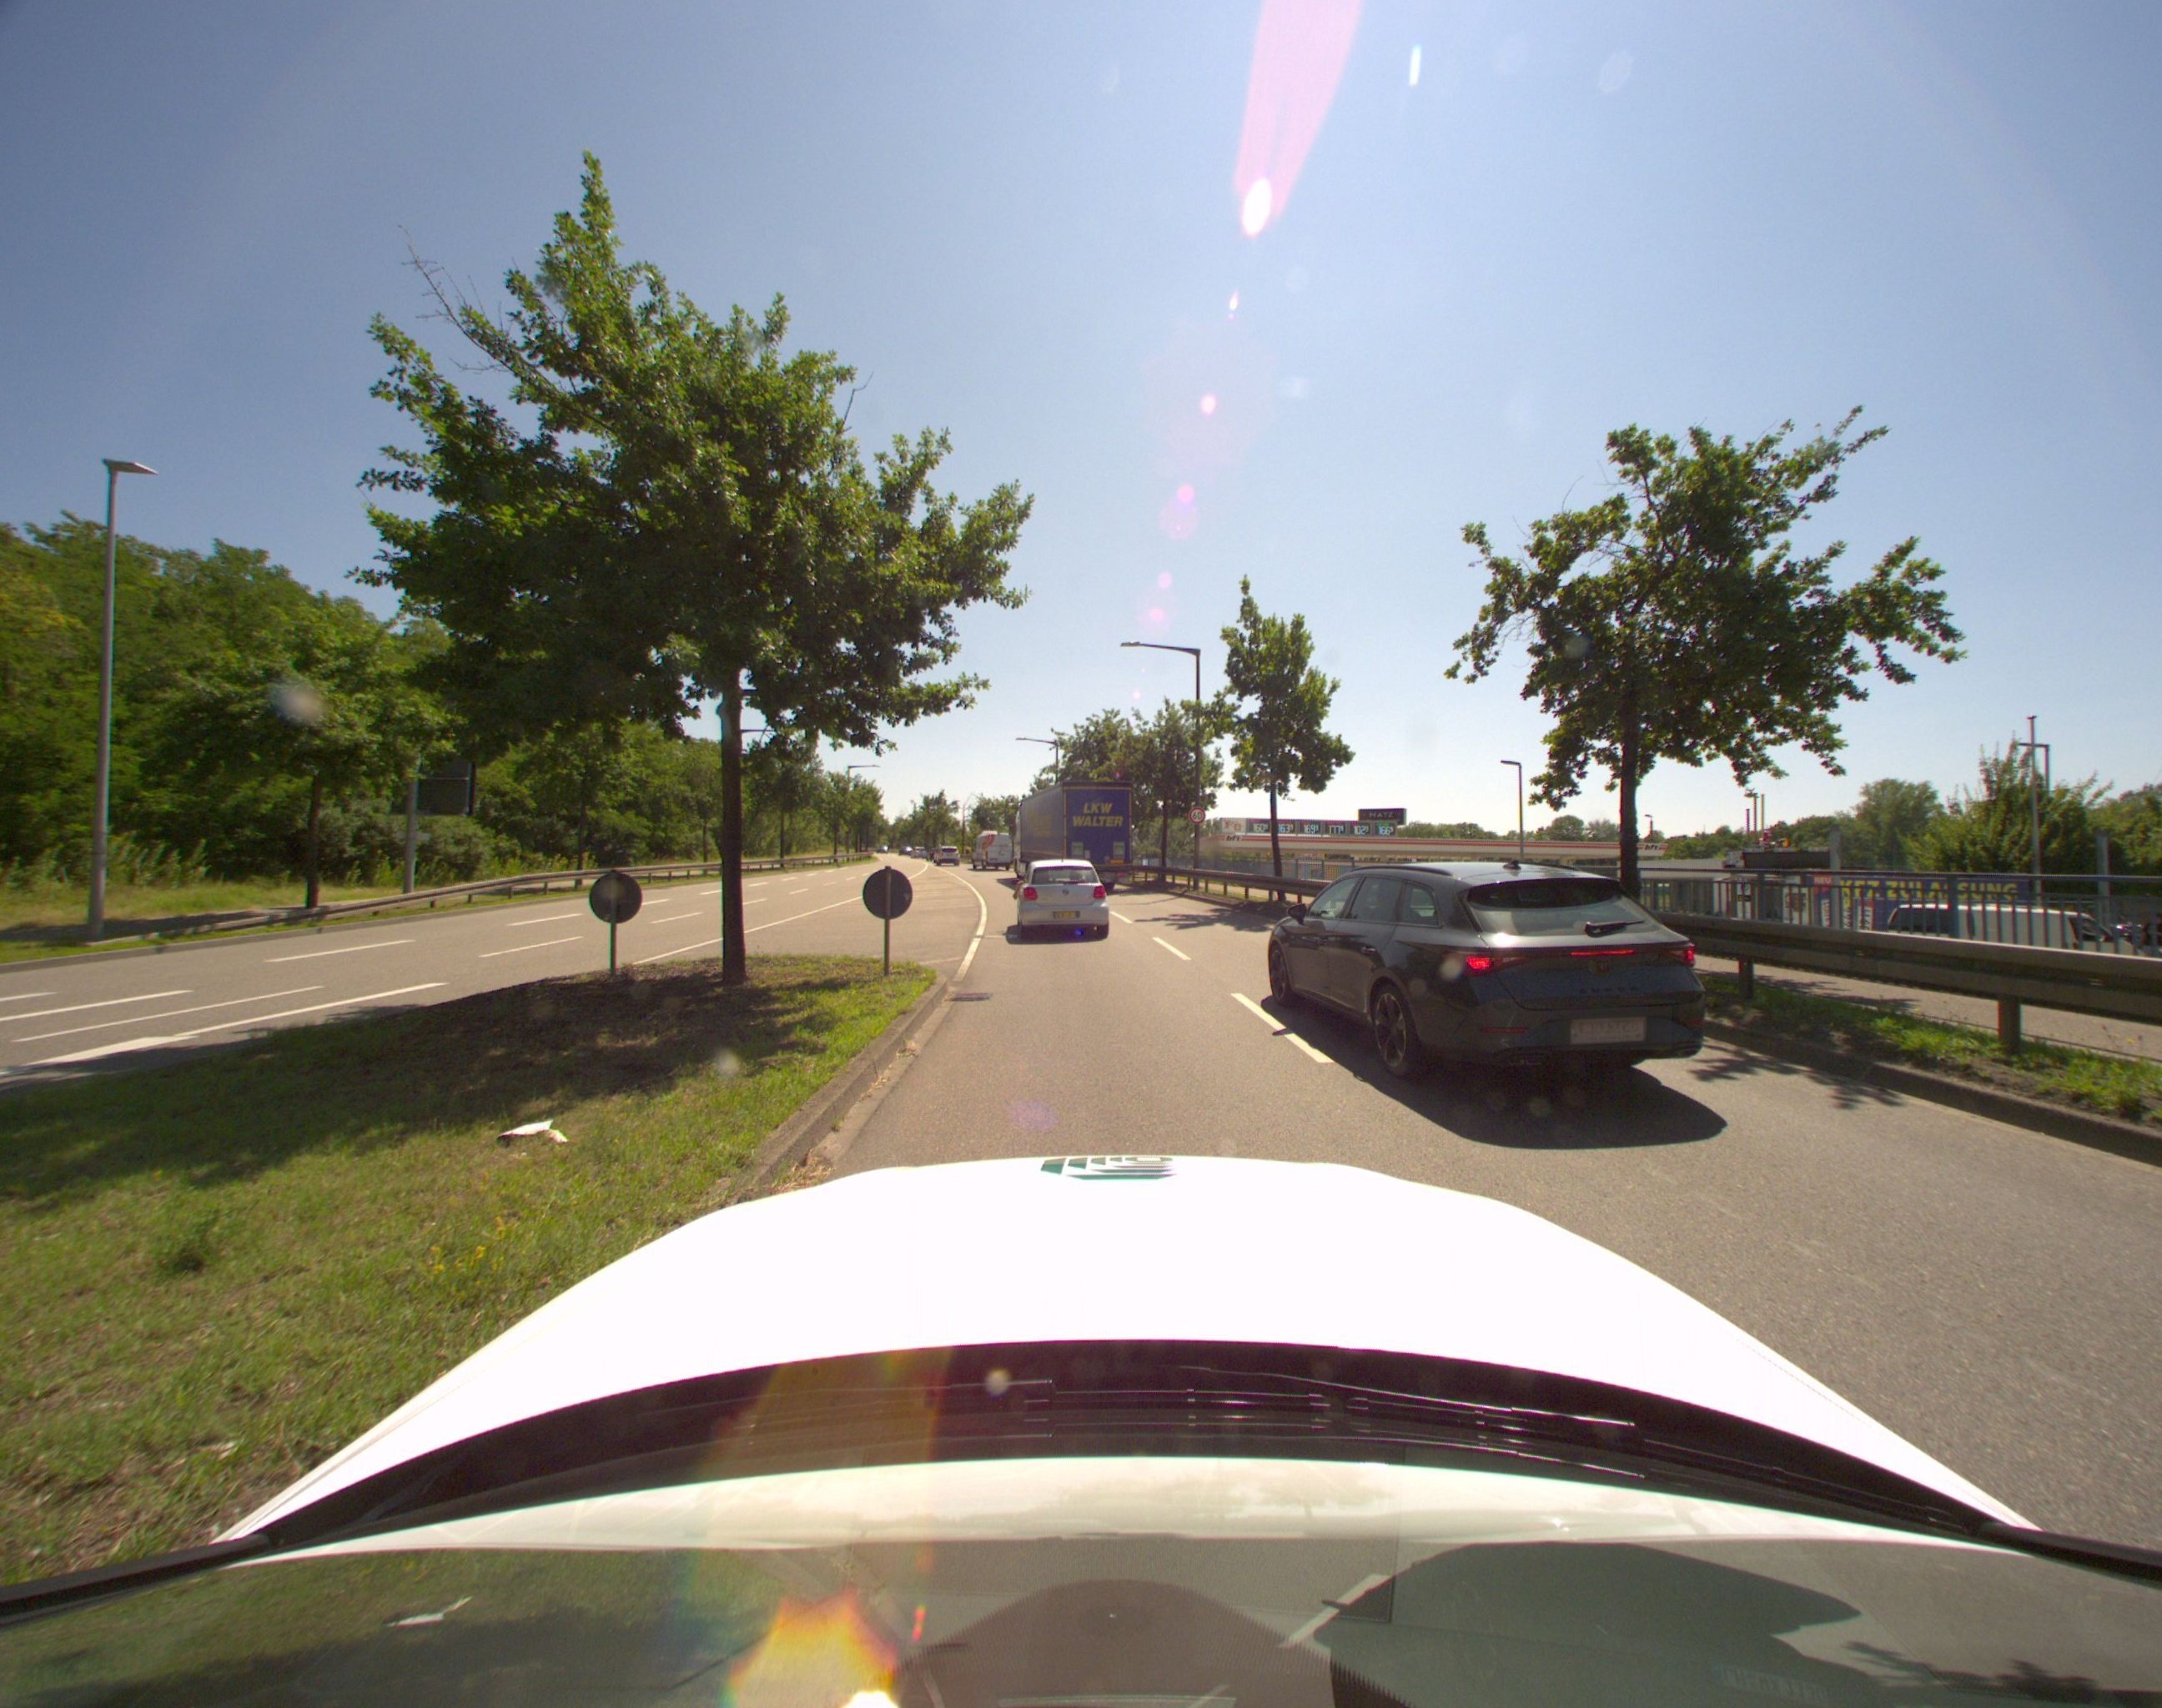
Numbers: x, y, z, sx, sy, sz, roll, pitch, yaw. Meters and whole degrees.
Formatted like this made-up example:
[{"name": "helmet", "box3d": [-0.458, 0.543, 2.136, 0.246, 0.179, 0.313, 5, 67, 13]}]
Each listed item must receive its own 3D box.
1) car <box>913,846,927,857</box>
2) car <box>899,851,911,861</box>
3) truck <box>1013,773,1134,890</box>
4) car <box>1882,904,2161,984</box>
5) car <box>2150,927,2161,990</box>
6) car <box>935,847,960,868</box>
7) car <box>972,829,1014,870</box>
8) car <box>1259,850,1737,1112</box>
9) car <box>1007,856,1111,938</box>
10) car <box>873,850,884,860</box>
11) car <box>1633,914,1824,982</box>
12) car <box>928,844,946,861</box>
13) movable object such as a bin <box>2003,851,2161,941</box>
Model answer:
[{"name": "car", "box3d": [-20.532, -0.308, 103.515, 1.610, 1.360, 3.645, 0, -1, -14]}, {"name": "car", "box3d": [-27.119, 0.262, 125.827, 1.665, 1.465, 3.568, 0, -2, -10]}, {"name": "truck", "box3d": [-0.906, -0.708, 37.466, 2.834, 4.198, 16.414, 0, -1, -10]}, {"name": "car", "box3d": [21.426, 2.021, 18.619, 4.578, 1.660, 1.596, 0, -2, 1]}, {"name": "car", "box3d": [27.566, 2.451, 18.669, 4.119, 1.475, 1.472, 0, -2, 1]}, {"name": "car", "box3d": [-11.629, 0.332, 70.756, 1.906, 1.718, 4.203, 0, -2, -13]}, {"name": "car", "box3d": [-6.568, -0.337, 60.248, 2.180, 2.900, 6.325, 0, 0, -15]}, {"name": "car", "box3d": [2.825, 0.761, 6.711, 1.601, 1.456, 4.230, 0, -1, -3]}, {"name": "car", "box3d": [-0.542, 0.809, 16.293, 1.646, 1.439, 3.525, 0, -2, -9]}, {"name": "car", "box3d": [-33.954, 0.166, 136.545, 1.680, 1.671, 3.740, -1, 2, -12]}, {"name": "car", "box3d": [15.390, 2.180, 19.489, 1.471, 1.309, 3.282, 1, -2, -35]}, {"name": "car", "box3d": [-15.993, -0.157, 90.443, 1.724, 1.726, 3.980, 0, -2, -14]}, {"name": "movable object such as a bin", "box3d": [47.097, 1.753, 35.762, 11.033, 3.708, 3.029, 0, -2, -7]}]
